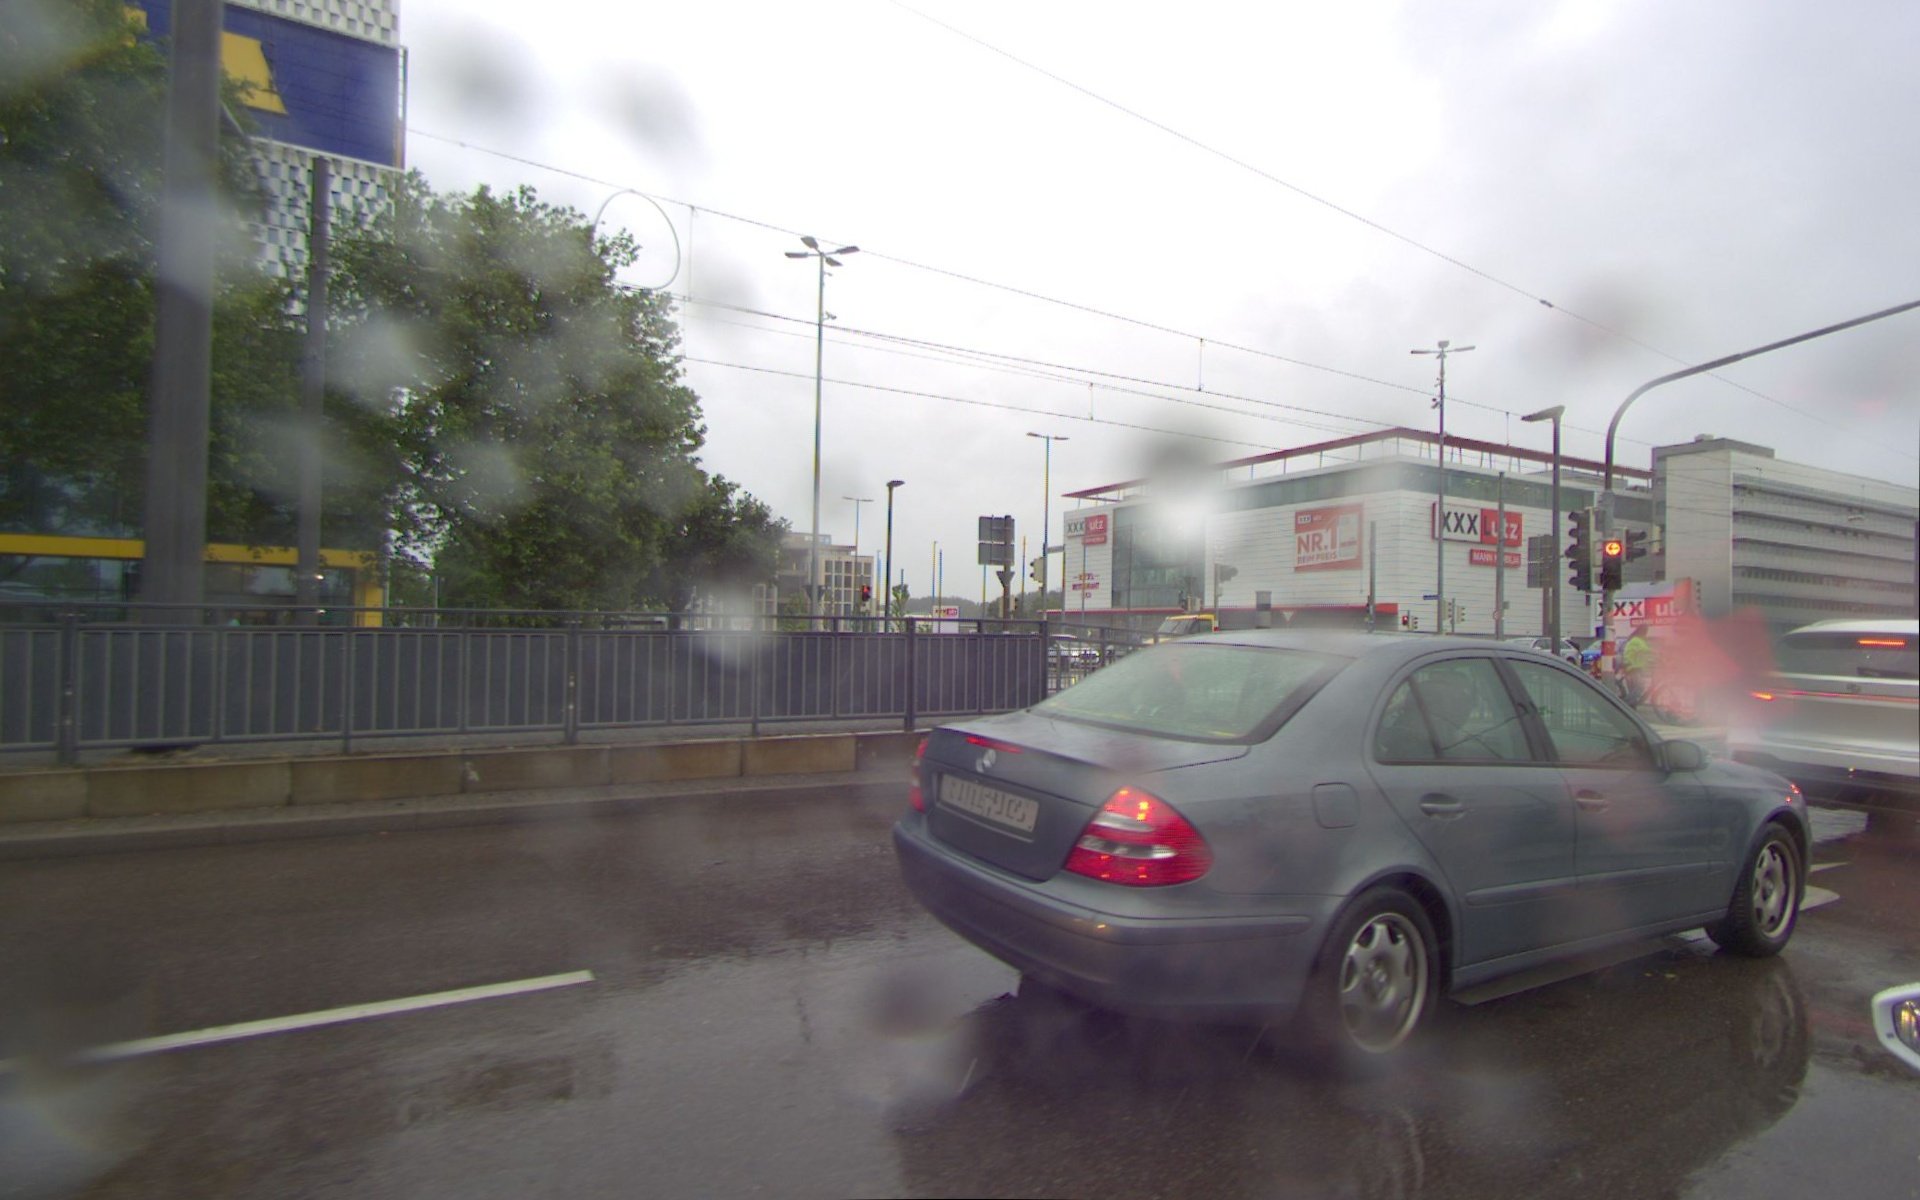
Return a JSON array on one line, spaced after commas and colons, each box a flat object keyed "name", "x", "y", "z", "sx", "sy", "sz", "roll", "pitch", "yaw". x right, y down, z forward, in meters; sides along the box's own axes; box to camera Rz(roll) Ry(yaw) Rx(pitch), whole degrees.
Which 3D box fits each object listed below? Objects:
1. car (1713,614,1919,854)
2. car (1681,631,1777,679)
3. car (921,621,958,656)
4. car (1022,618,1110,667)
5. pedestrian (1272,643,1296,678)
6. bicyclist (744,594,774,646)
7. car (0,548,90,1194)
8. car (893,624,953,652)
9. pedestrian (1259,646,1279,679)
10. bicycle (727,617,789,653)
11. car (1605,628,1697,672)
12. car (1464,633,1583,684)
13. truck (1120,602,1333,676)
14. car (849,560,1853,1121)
[{"name": "car", "x": 8.016, "y": 0.951, "z": 8.005, "sx": 4.248, "sy": 1.555, "sz": 1.720, "roll": 2, "pitch": 0, "yaw": -31}, {"name": "car", "x": 33.508, "y": 2.404, "z": 43.776, "sx": 3.951, "sy": 1.821, "sz": 1.838, "roll": 4, "pitch": -2, "yaw": -28}, {"name": "car", "x": -1.027, "y": 1.950, "z": 51.807, "sx": 1.670, "sy": 1.655, "sz": 3.651, "roll": 2, "pitch": -1, "yaw": 2}, {"name": "car", "x": 4.908, "y": 1.972, "z": 47.080, "sx": 1.976, "sy": 2.040, "sz": 4.296, "roll": 3, "pitch": -1, "yaw": -28}, {"name": "pedestrian", "x": 14.454, "y": 2.703, "z": 44.836, "sx": 0.862, "sy": 1.557, "sz": 0.560, "roll": 3, "pitch": 0, "yaw": -30}, {"name": "bicyclist", "x": -5.871, "y": 0.586, "z": 29.374, "sx": 0.639, "sy": 1.483, "sz": 0.681, "roll": 2, "pitch": 0, "yaw": -28}, {"name": "car", "x": -4.034, "y": 0.552, "z": 0.955, "sx": 4.546, "sy": 1.521, "sz": 1.762, "roll": 3, "pitch": -1, "yaw": -32}, {"name": "car", "x": -2.441, "y": 2.504, "z": 66.856, "sx": 3.723, "sy": 1.645, "sz": 2.001, "roll": 2, "pitch": -1, "yaw": 3}, {"name": "pedestrian", "x": 14.571, "y": 2.934, "z": 47.332, "sx": 0.643, "sy": 1.517, "sz": 0.561, "roll": 2, "pitch": 0, "yaw": -30}, {"name": "bicycle", "x": -5.911, "y": 1.033, "z": 29.372, "sx": 1.688, "sy": 1.000, "sz": 0.448, "roll": 3, "pitch": -1, "yaw": -29}, {"name": "car", "x": 31.040, "y": 2.244, "z": 45.133, "sx": 3.487, "sy": 1.682, "sz": 1.726, "roll": 5, "pitch": -1, "yaw": -22}, {"name": "car", "x": 20.827, "y": 2.164, "z": 37.134, "sx": 3.947, "sy": 1.722, "sz": 1.887, "roll": 3, "pitch": -1, "yaw": -25}, {"name": "truck", "x": 9.400, "y": 1.390, "z": 35.145, "sx": 7.535, "sy": 2.309, "sz": 2.343, "roll": 3, "pitch": -1, "yaw": -27}, {"name": "car", "x": 1.981, "y": 0.707, "z": 4.499, "sx": 4.593, "sy": 1.417, "sz": 1.753, "roll": 3, "pitch": -1, "yaw": -32}]
